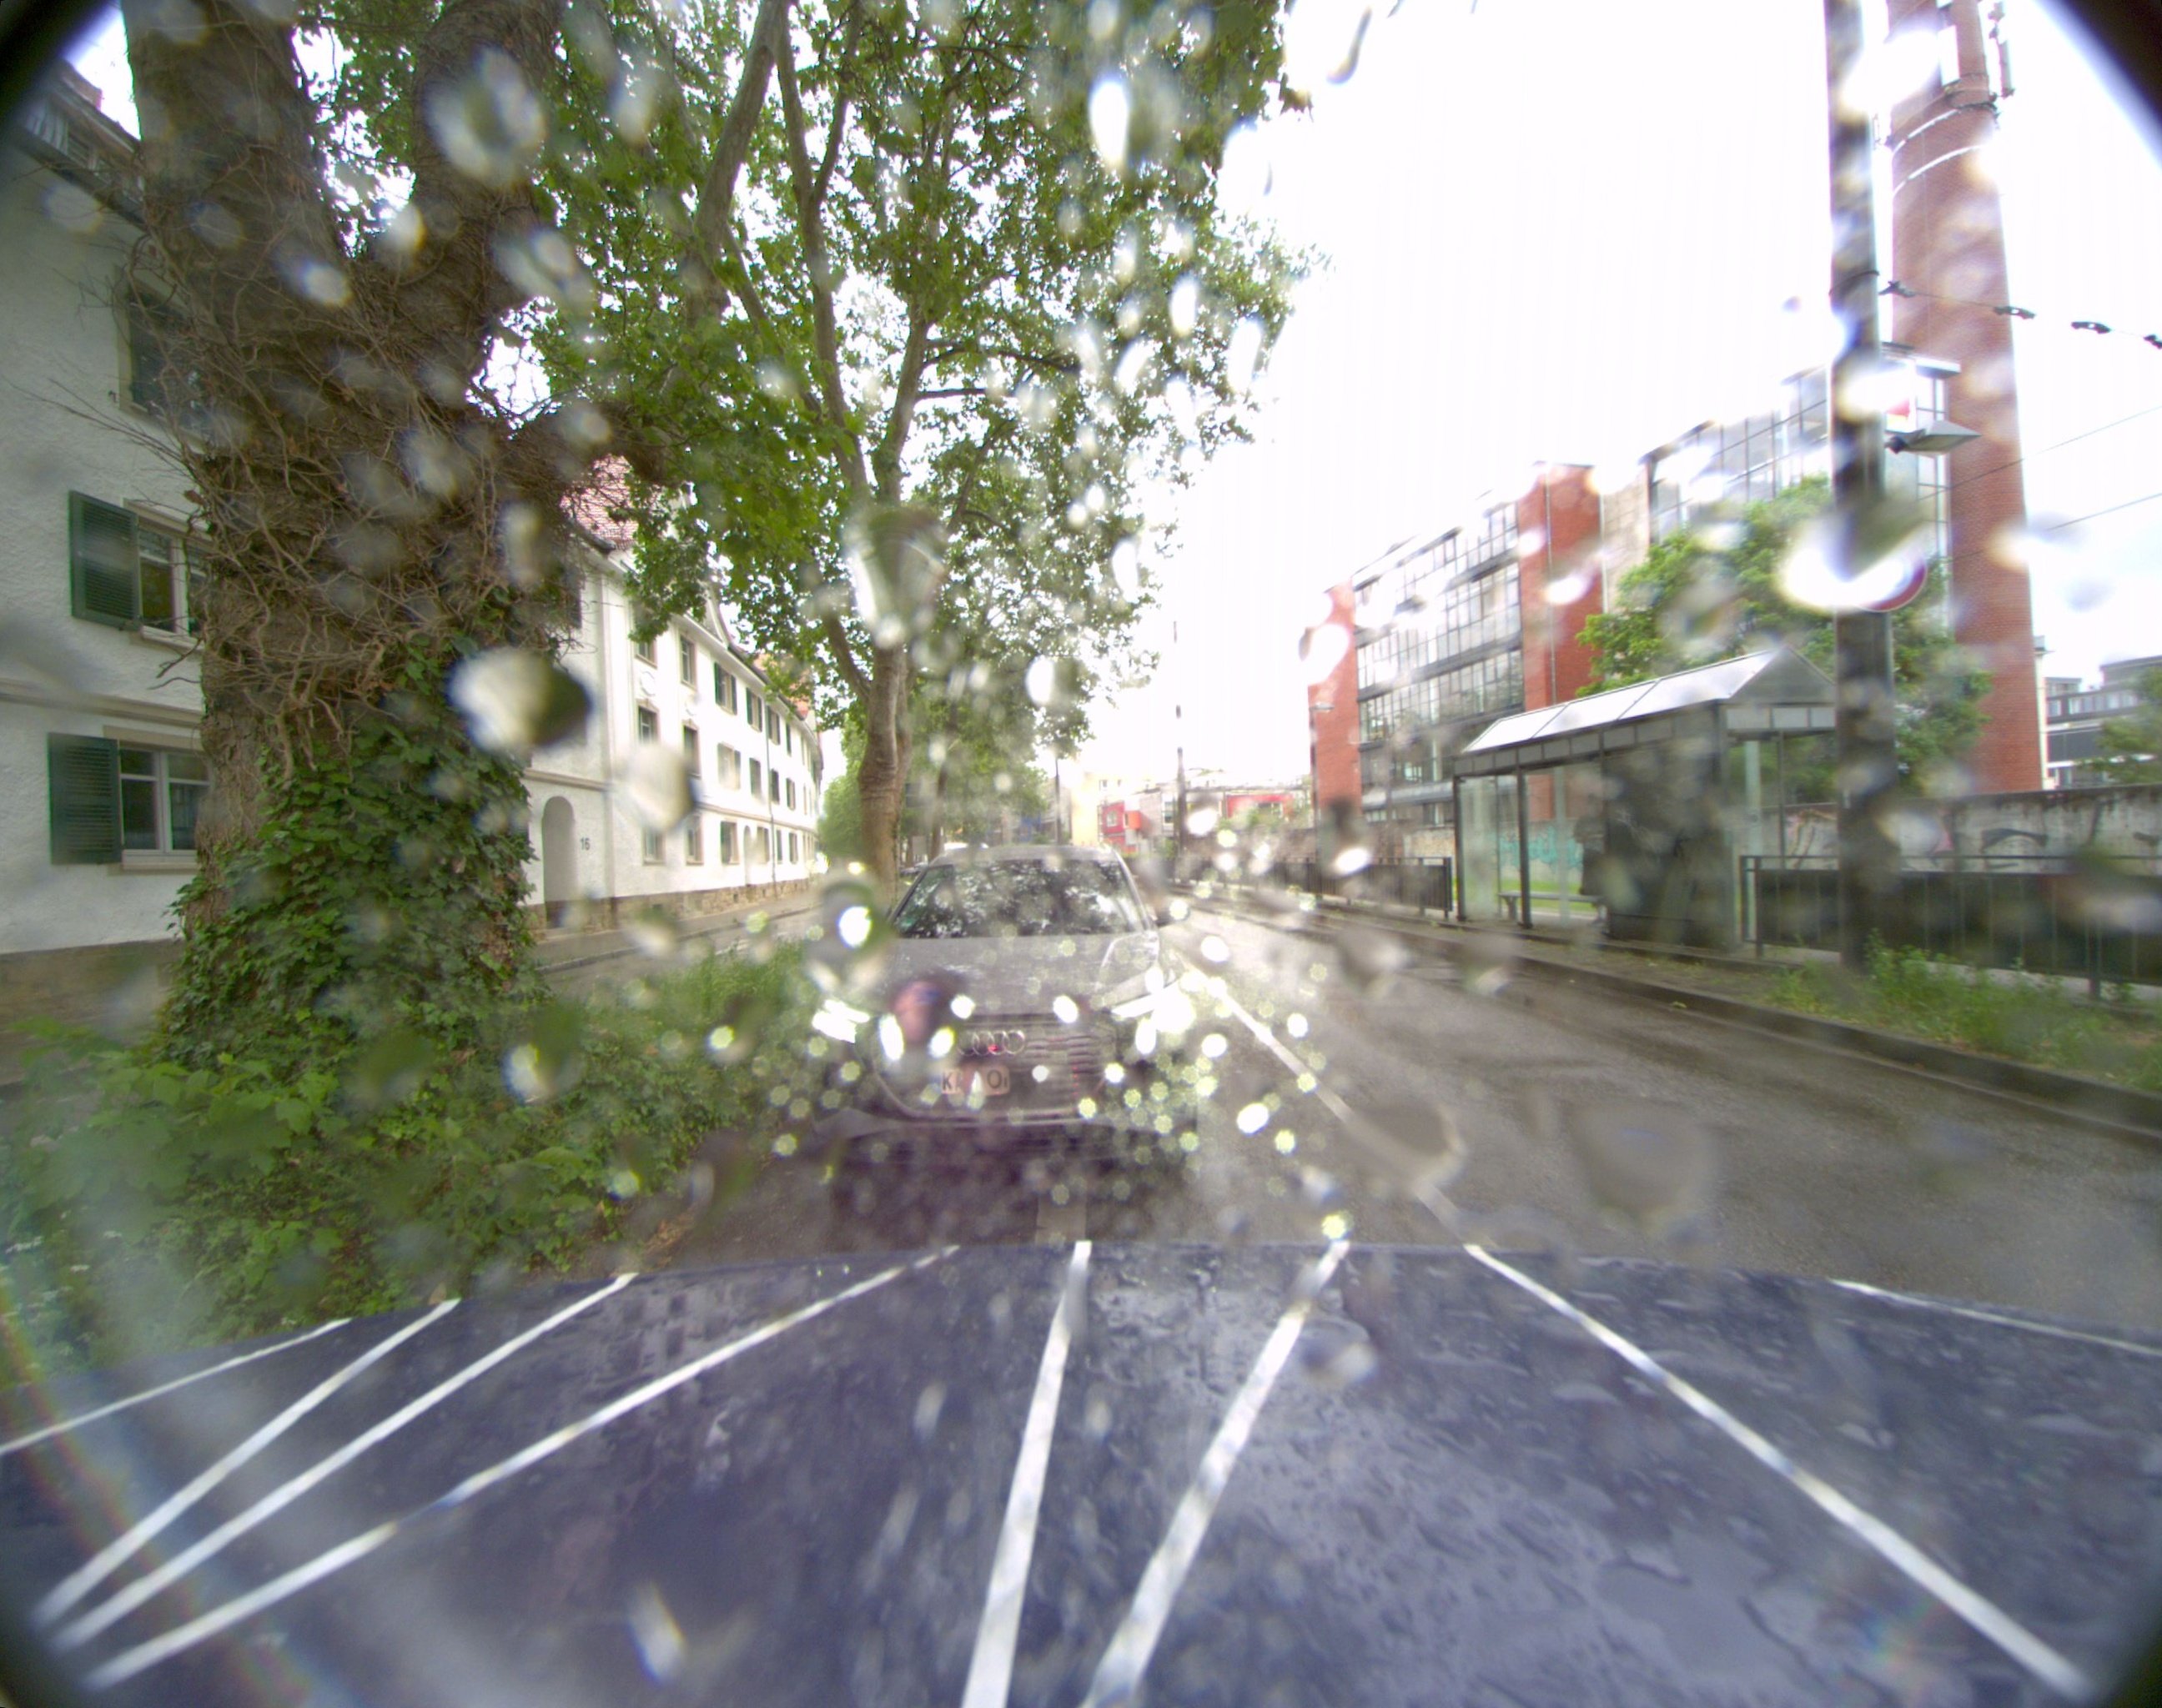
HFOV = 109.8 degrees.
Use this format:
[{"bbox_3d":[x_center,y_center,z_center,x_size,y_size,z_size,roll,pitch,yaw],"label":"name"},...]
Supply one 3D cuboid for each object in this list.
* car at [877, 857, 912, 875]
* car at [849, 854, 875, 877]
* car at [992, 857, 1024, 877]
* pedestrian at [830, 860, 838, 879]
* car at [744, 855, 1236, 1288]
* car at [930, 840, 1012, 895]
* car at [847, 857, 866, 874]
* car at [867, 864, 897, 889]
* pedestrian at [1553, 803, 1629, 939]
[{"bbox_3d":[-23.193,1.485,94.571,4.002,2.002,1.997,-2,0,-17],"label":"car"},{"bbox_3d":[-20.267,1.080,70.255,2.002,2.001,3.993,3,-1,-20],"label":"car"},{"bbox_3d":[-6.053,1.050,62.969,1.721,1.451,3.741,-2,1,-19],"label":"car"},{"bbox_3d":[-23.019,1.434,70.776,0.674,1.811,0.678,-3,1,-18],"label":"pedestrian"},{"bbox_3d":[-0.419,0.875,5.117,1.917,1.632,4.106,-2,0,-2],"label":"car"},{"bbox_3d":[-5.019,0.580,34.012,2.199,2.250,5.401,-1,0,-24],"label":"car"},{"bbox_3d":[-29.077,1.467,98.376,2.002,2.001,3.993,3,-1,-20],"label":"car"},{"bbox_3d":[-13.704,1.495,52.361,1.833,1.517,3.995,-2,1,-14],"label":"car"},{"bbox_3d":[6.727,0.220,10.042,0.629,1.738,0.564,-2,1,9],"label":"pedestrian"}]
